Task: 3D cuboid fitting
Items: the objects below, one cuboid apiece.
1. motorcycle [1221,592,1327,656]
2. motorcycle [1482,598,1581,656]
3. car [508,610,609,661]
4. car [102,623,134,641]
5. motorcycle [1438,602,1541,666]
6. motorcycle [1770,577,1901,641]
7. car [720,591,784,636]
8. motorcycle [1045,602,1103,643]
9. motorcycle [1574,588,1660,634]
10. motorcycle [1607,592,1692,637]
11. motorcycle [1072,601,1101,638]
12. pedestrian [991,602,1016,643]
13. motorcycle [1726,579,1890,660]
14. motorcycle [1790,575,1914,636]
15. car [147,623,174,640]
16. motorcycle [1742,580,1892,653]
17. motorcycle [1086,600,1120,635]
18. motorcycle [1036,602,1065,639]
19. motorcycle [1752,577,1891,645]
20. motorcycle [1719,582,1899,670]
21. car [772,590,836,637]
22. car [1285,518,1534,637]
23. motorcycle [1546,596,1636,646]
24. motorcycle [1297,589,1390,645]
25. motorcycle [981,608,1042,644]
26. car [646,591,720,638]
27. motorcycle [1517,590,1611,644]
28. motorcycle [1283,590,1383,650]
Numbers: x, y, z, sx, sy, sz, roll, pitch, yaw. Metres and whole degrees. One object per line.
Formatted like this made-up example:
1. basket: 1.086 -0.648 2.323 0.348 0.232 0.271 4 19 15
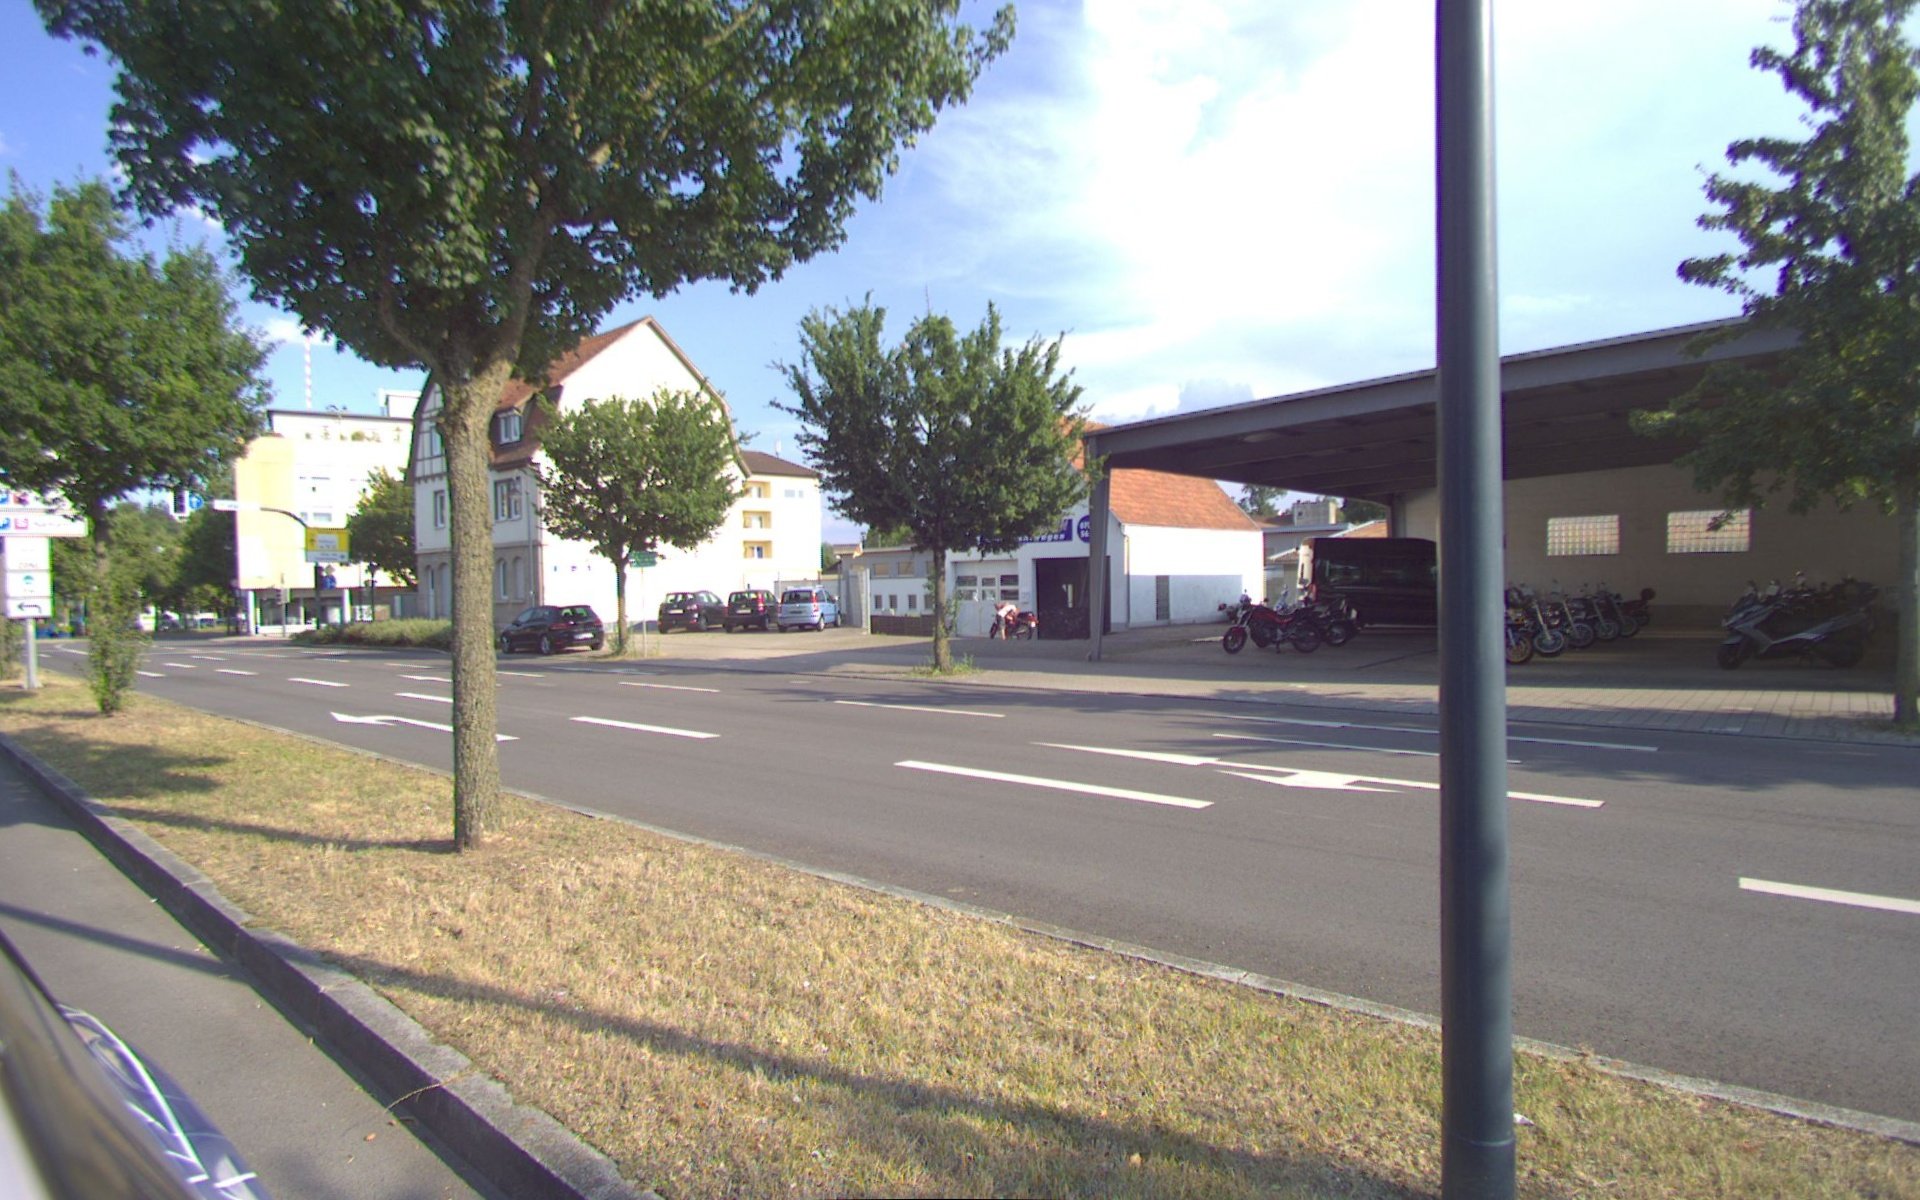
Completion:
1. motorcycle: 6.768 0.521 21.869 2.096 1.332 0.487 -2 0 11
2. motorcycle: 11.469 0.524 20.386 0.542 1.107 2.052 -1 0 -9
3. car: -12.228 1.027 30.731 1.649 1.327 3.435 -5 3 -43
4. car: -100.540 3.852 120.904 1.789 2.029 4.013 -1 0 -23
5. motorcycle: 9.775 0.607 18.780 0.542 1.107 2.052 -1 0 -9
6. motorcycle: 18.814 0.199 21.786 2.074 1.310 0.523 -2 0 15
7. car: -7.727 0.470 37.805 1.566 1.576 3.429 -1 0 2
8. motorcycle: 4.001 0.776 35.484 2.082 1.332 0.490 -1 0 -27
9. motorcycle: 16.543 0.275 25.549 0.542 1.107 2.052 -1 0 -9
10. motorcycle: 17.938 0.361 26.397 0.542 1.107 2.052 -1 0 -9
11. motorcycle: 4.724 0.703 37.726 0.486 1.332 2.102 -2 0 24
12. pedestrian: 1.434 0.730 33.495 0.583 1.350 0.589 -1 0 34
13. motorcycle: 14.367 0.338 17.194 2.074 1.310 0.523 -2 0 15
14. motorcycle: 20.377 0.129 23.160 2.074 1.310 0.523 -2 0 15
15. car: -103.813 4.094 131.445 1.965 2.029 4.013 -1 0 -28
16. motorcycle: 15.969 0.314 18.911 2.074 1.310 0.523 -2 0 15
17. motorcycle: 5.713 0.668 40.273 0.487 1.332 2.096 -2 0 32
18. motorcycle: 3.404 0.747 37.983 0.485 1.332 2.104 -2 0 21
19. motorcycle: 17.458 0.222 20.548 2.074 1.310 0.523 -2 0 15
20. motorcycle: 13.179 0.404 15.762 2.074 1.310 0.523 -2 0 15
21. car: -5.509 0.469 36.092 1.599 1.555 3.429 -1 -1 2
22. car: 12.353 -0.579 28.300 5.734 2.982 2.670 -2 0 9
23. motorcycle: 14.804 0.476 23.821 0.542 1.107 2.052 -1 0 -9
24. motorcycle: 9.584 0.425 25.312 2.090 1.332 0.488 -2 0 1
25. motorcycle: 1.710 0.871 33.924 2.114 1.155 0.483 -2 0 35
26. car: -10.345 0.505 38.043 1.836 1.638 3.410 -1 0 0
27. motorcycle: 13.165 0.359 22.145 0.542 1.107 2.052 -1 0 -9
28. motorcycle: 8.644 0.455 23.516 2.095 1.332 0.487 -2 0 9
